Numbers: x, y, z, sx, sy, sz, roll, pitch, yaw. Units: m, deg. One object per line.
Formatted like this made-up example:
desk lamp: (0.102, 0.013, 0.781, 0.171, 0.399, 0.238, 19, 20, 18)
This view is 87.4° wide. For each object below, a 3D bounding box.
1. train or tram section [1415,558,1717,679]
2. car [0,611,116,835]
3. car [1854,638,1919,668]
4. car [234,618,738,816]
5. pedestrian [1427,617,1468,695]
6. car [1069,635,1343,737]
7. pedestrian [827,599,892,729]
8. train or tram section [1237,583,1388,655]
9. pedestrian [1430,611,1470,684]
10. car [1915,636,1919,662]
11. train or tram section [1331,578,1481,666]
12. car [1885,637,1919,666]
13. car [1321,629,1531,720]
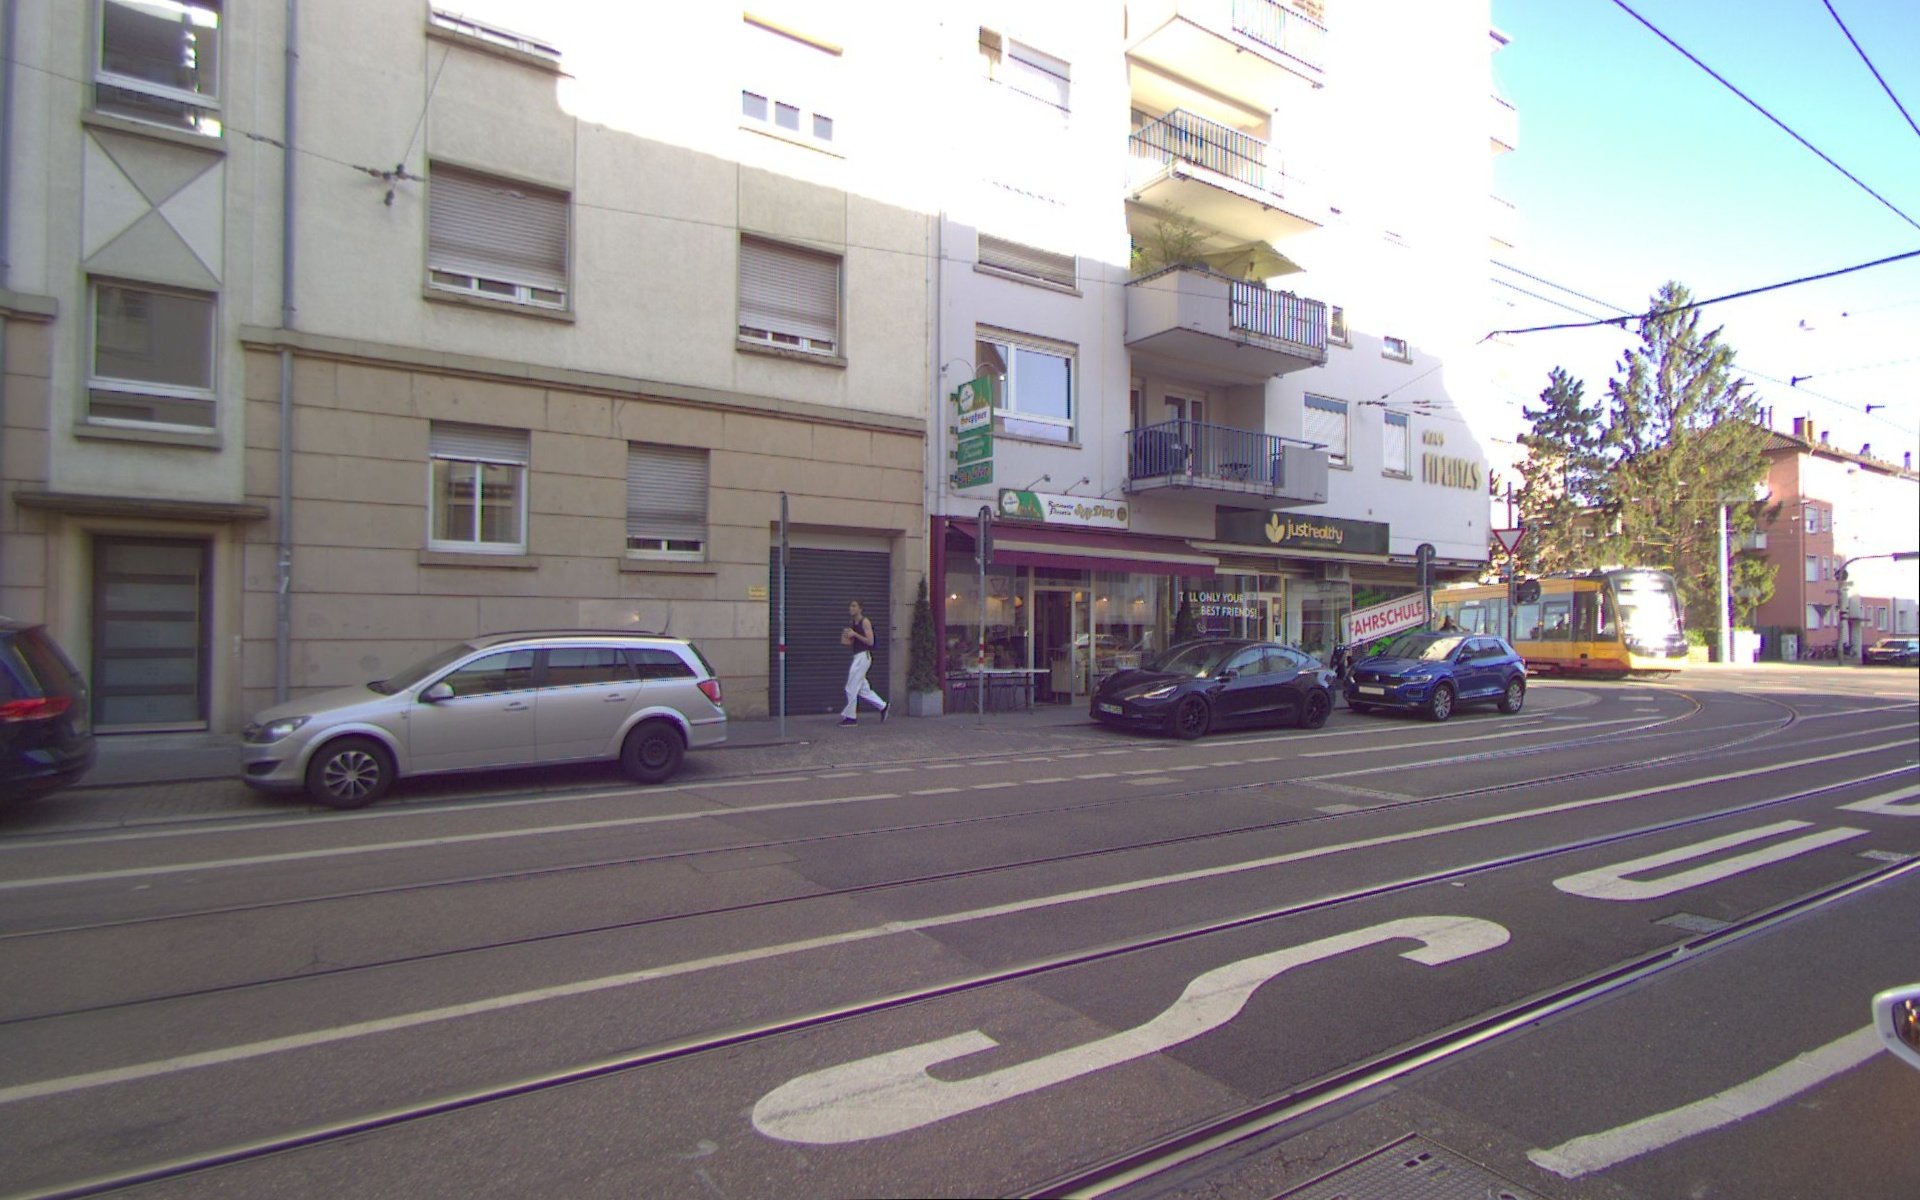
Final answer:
train or tram section: (21.105, 0.754, 36.563, 3.012, 3.641, 12.630, 0, -2, -2)
car: (-9.008, 0.875, 7.248, 4.249, 1.606, 1.893, 2, 0, -35)
car: (49.624, 2.830, 53.612, 3.949, 1.440, 1.784, 2, 0, -31)
car: (-4.707, 1.040, 10.311, 4.319, 1.580, 1.981, 2, 0, -34)
pedestrian: (11.681, 1.330, 24.069, 0.691, 1.829, 0.568, 2, 0, -30)
car: (4.005, 1.277, 16.079, 4.382, 1.405, 1.810, 1, -2, -34)
pedestrian: (-1.480, 0.920, 14.802, 0.725, 1.857, 0.595, 2, 0, -30)
train or tram section: (20.203, 1.010, 59.072, 2.701, 3.680, 14.254, 2, 0, -5)
pedestrian: (13.995, 1.339, 28.683, 0.688, 2.040, 0.764, 2, 0, -35)
car: (58.404, 2.964, 59.430, 4.103, 1.531, 1.778, 2, 0, -31)
train or tram section: (20.783, 0.962, 47.543, 2.779, 3.679, 9.082, 1, 0, -1)
car: (54.086, 2.909, 56.560, 4.250, 1.518, 1.806, 2, 0, -30)
car: (8.906, 1.338, 19.110, 4.030, 1.552, 1.858, 1, -2, -34)
